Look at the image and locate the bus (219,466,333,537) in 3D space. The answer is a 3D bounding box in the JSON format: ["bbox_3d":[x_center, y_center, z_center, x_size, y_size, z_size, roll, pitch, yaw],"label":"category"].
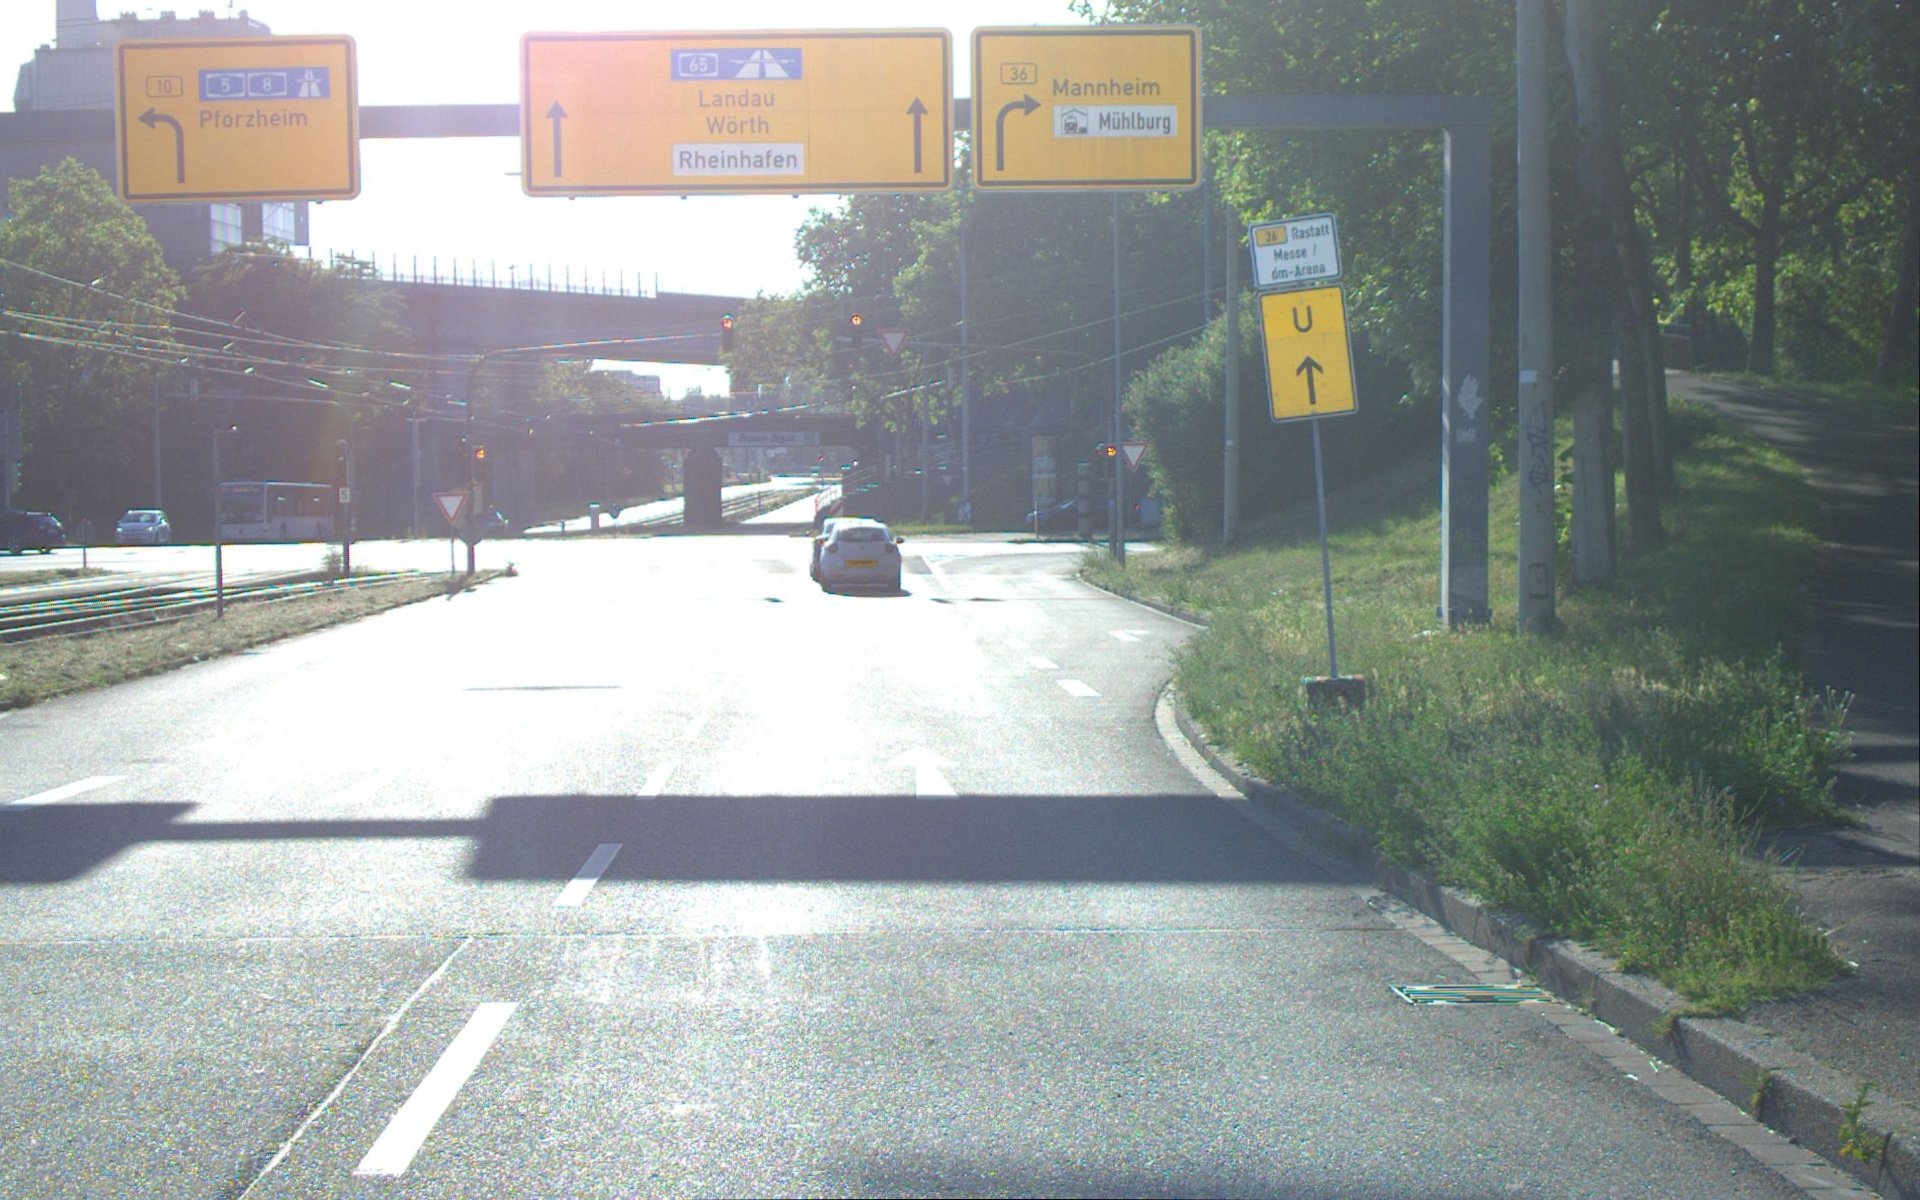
[{"bbox_3d":[-32.093,-4.572,161.757,2.543,3.119,12.918,-1,1,1],"label":"bus"}]

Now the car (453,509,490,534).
[{"bbox_3d":[-28.829,-4.634,202.970,1.606,1.414,4.008,0,2,0],"label":"car"}]

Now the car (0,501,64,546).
[{"bbox_3d":[-32.302,-2.613,116.814,3.997,1.500,1.738,2,3,44],"label":"car"}]

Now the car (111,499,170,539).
[{"bbox_3d":[-32.741,-3.250,137.435,1.606,1.507,4.009,0,2,-3],"label":"car"}]

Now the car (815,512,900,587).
[{"bbox_3d":[-2.237,-1.105,74.196,1.736,1.500,4.001,-1,2,-3],"label":"car"}]
